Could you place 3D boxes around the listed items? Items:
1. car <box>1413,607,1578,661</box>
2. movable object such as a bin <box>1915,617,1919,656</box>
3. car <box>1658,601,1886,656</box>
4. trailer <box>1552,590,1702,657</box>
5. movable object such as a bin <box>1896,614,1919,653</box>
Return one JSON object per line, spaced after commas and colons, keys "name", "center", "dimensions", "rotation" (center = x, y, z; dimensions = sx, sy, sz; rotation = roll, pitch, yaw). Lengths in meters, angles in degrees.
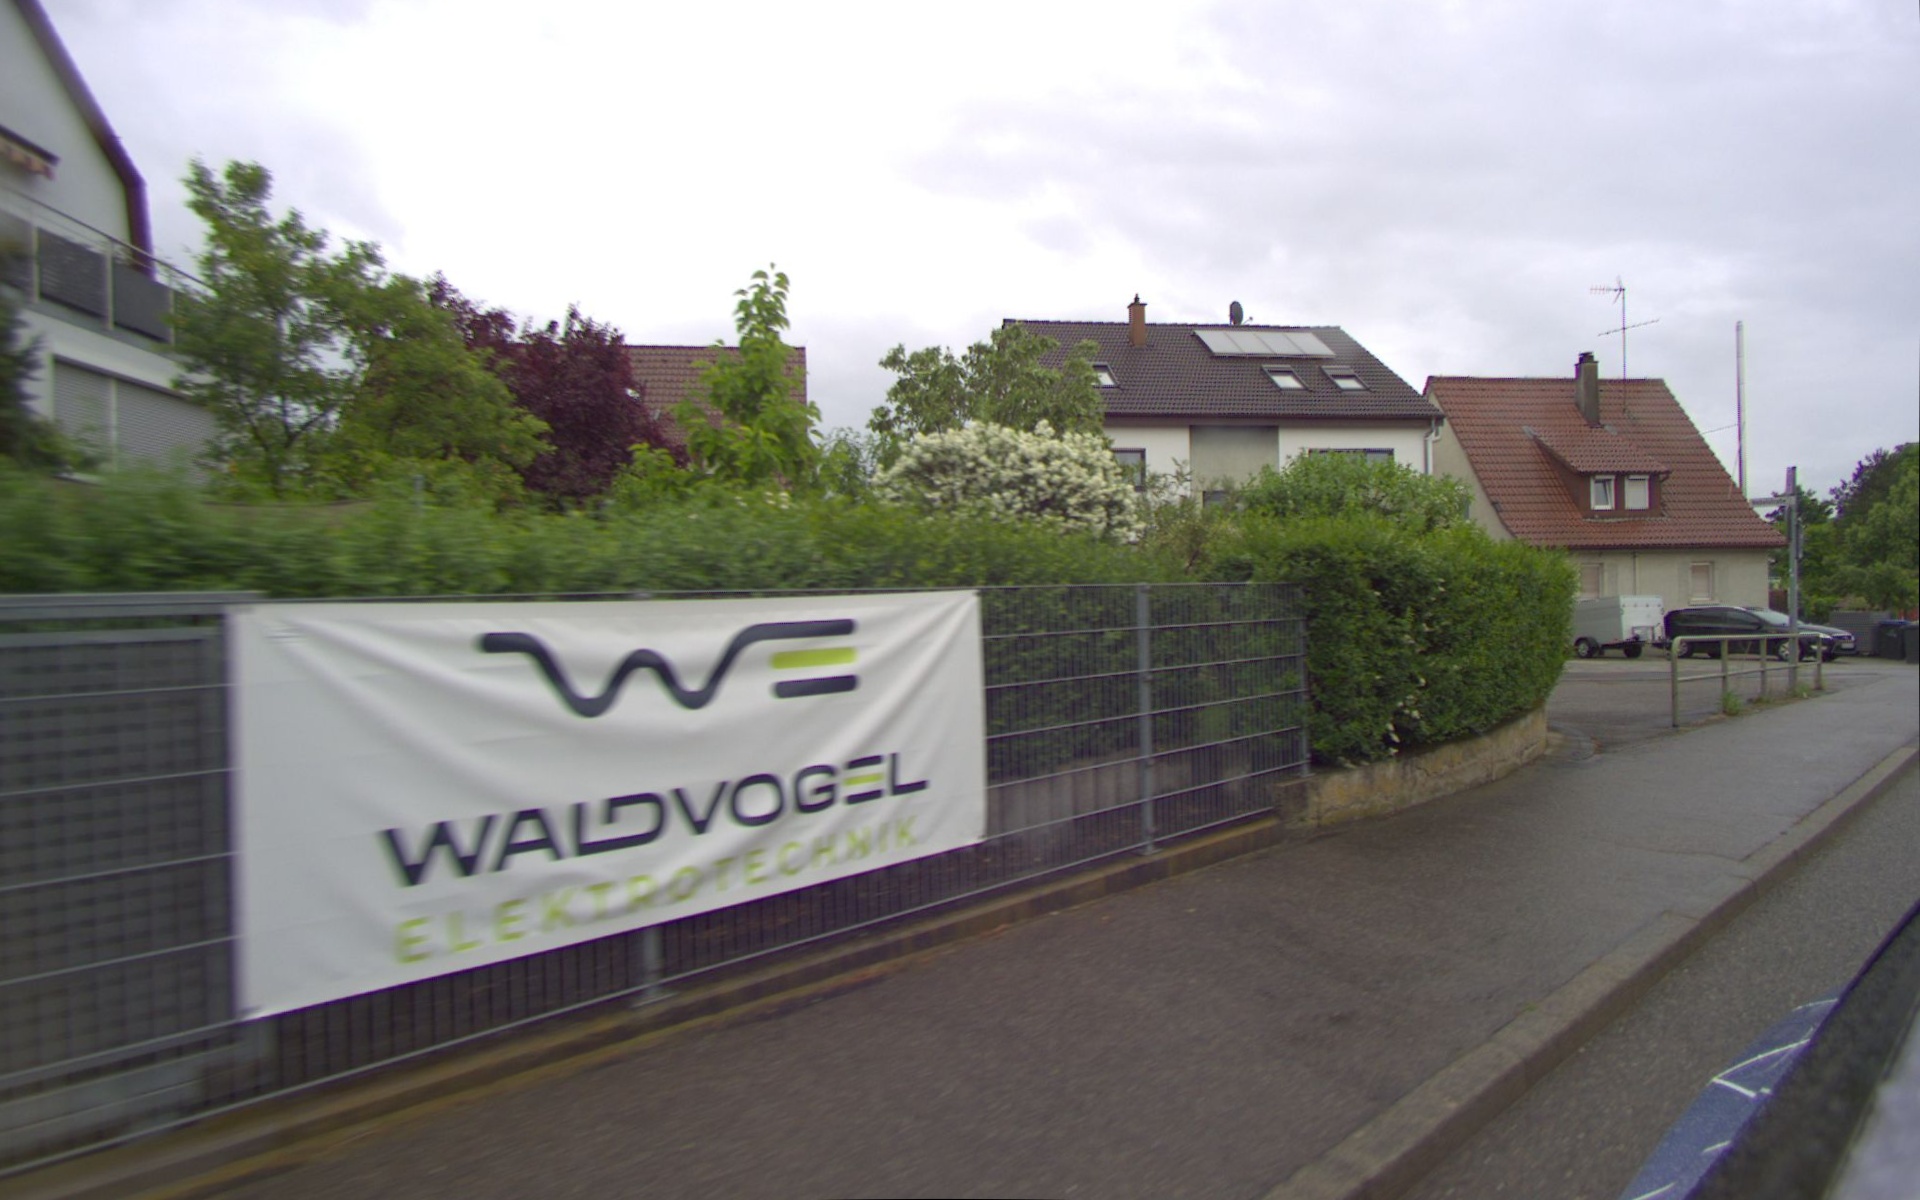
{"name": "car", "center": [14.257, 0.869, 27.277], "dimensions": [1.749, 1.340, 4.405], "rotation": [0, -1, -6]}
{"name": "movable object such as a bin", "center": [25.585, 0.979, 26.577], "dimensions": [0.530, 1.034, 0.629], "rotation": [1, 1, -35]}
{"name": "car", "center": [22.529, 0.804, 28.326], "dimensions": [1.958, 1.402, 4.579], "rotation": [2, -2, -24]}
{"name": "trailer", "center": [19.550, 0.658, 29.837], "dimensions": [1.653, 1.821, 3.469], "rotation": [0, -1, -12]}
{"name": "movable object such as a bin", "center": [26.257, 0.928, 27.907], "dimensions": [0.513, 1.034, 0.445], "rotation": [2, 0, -18]}
